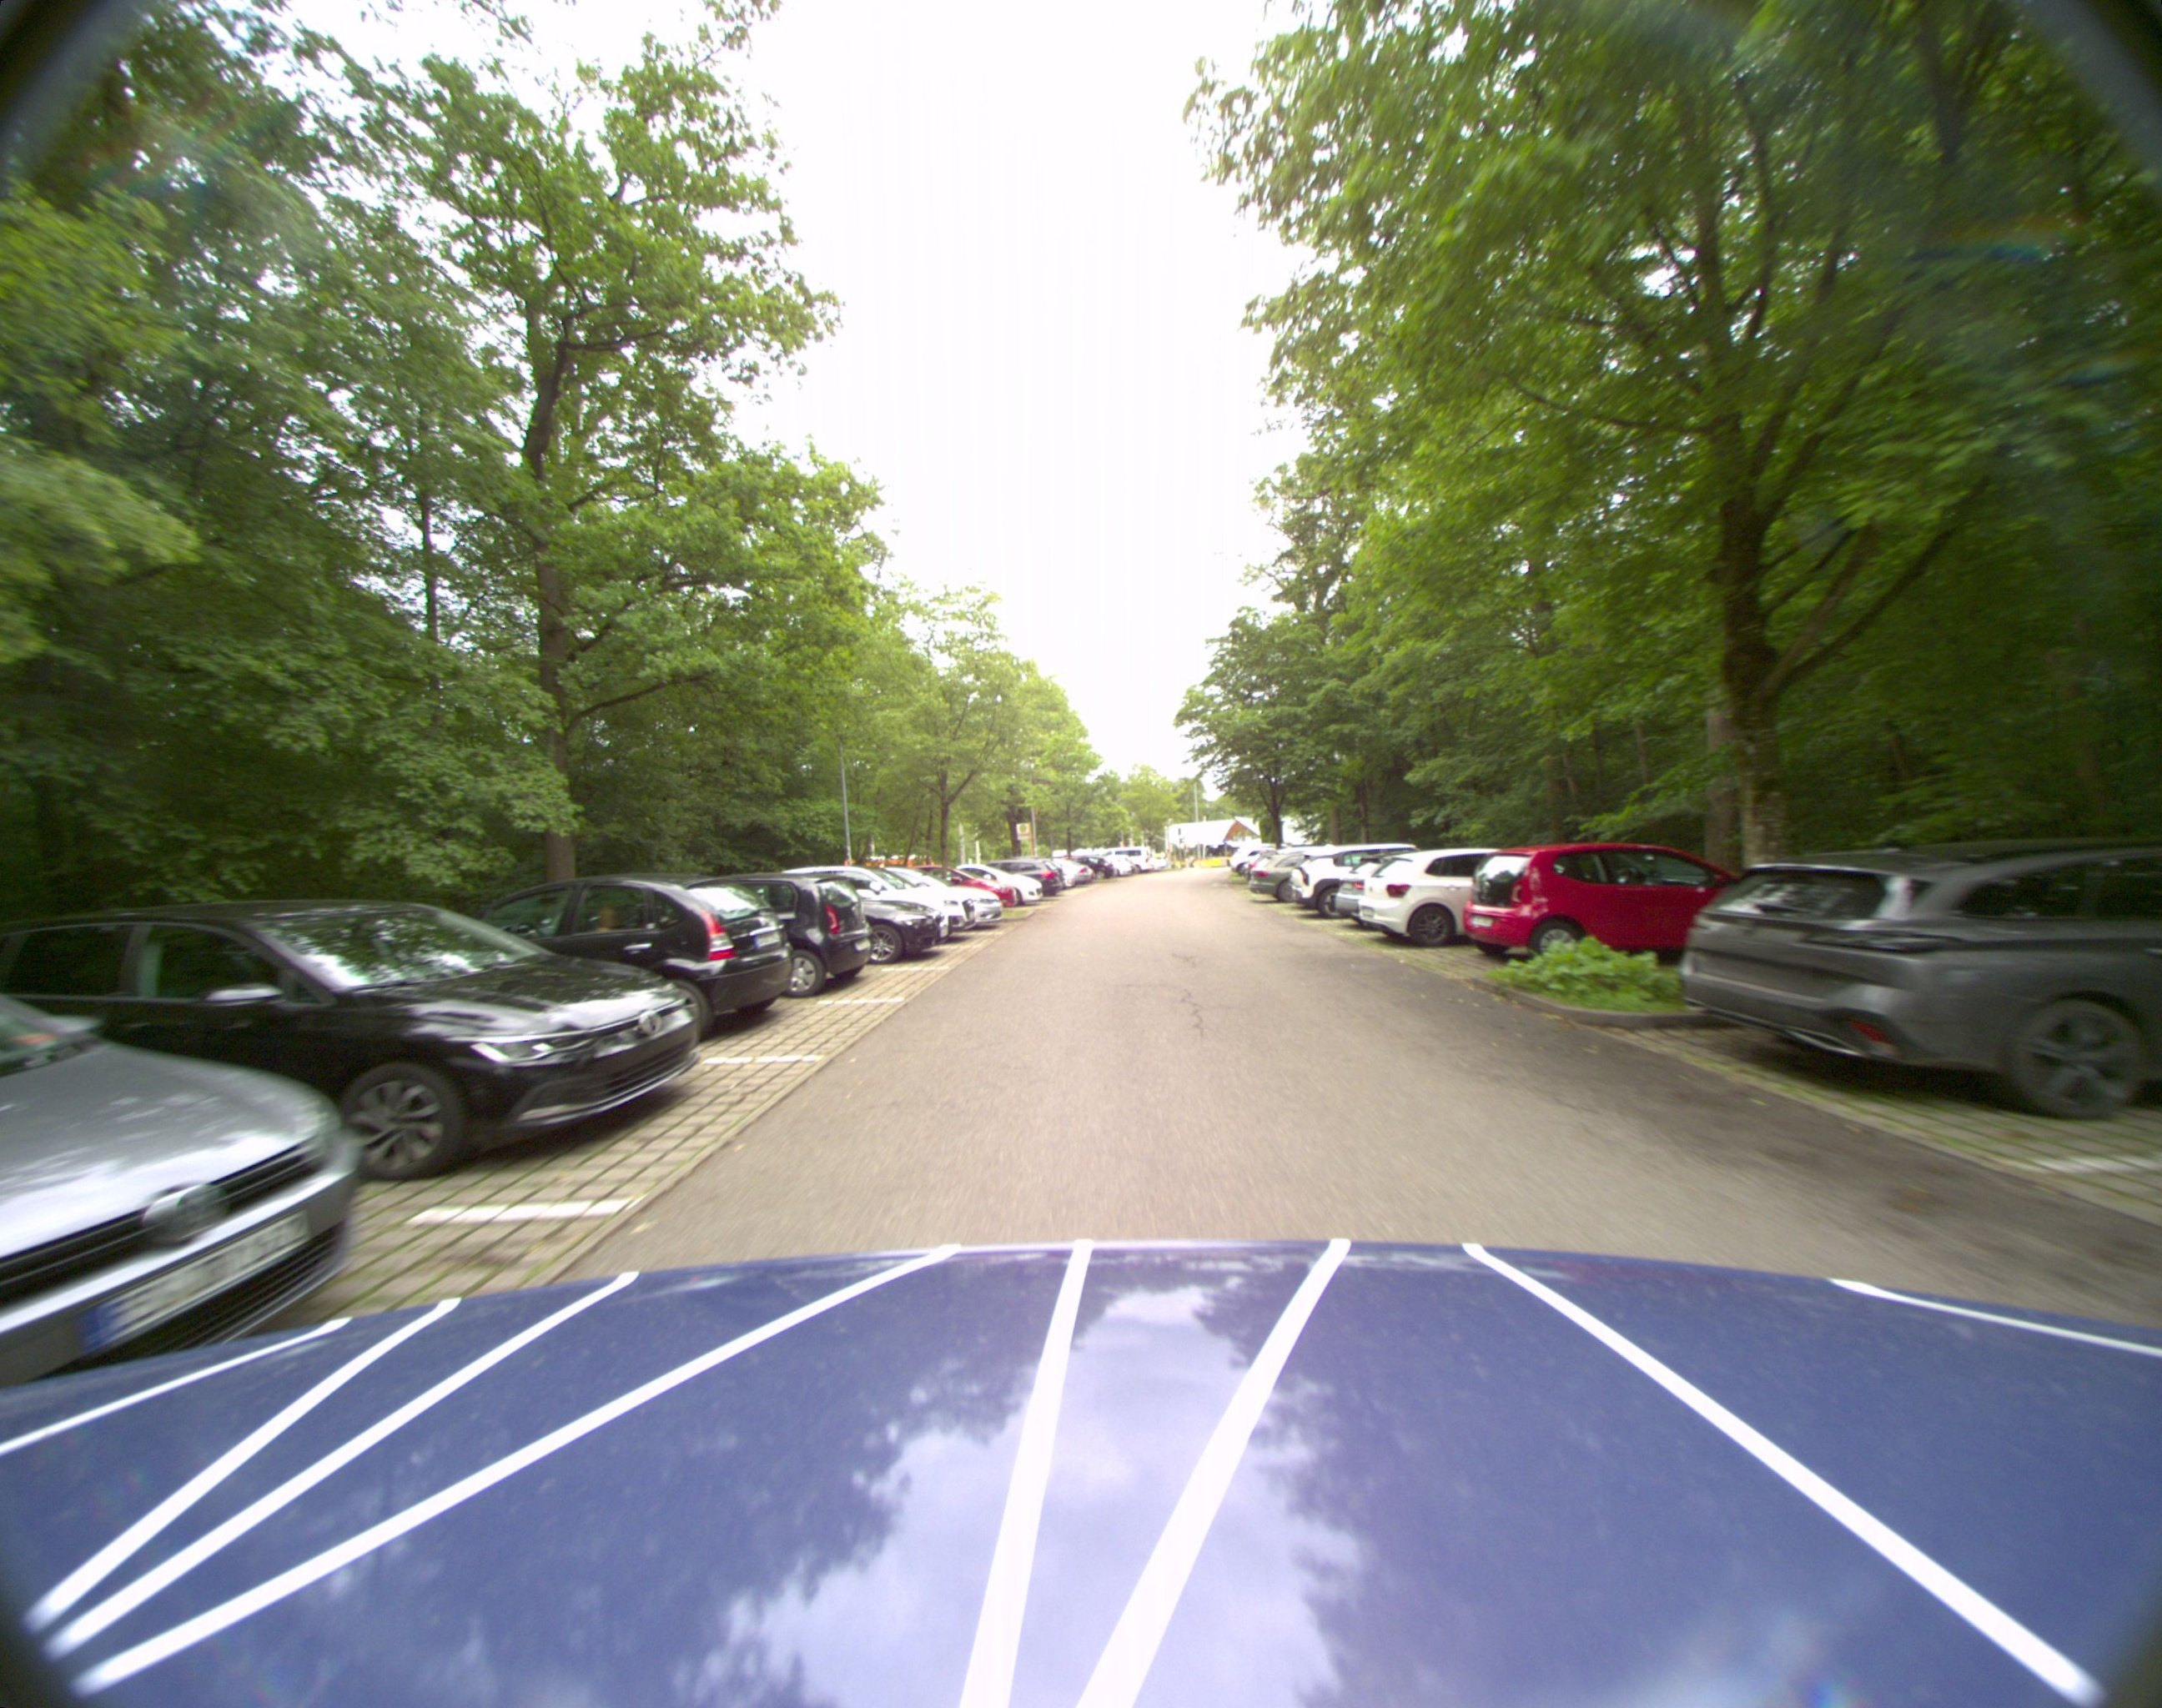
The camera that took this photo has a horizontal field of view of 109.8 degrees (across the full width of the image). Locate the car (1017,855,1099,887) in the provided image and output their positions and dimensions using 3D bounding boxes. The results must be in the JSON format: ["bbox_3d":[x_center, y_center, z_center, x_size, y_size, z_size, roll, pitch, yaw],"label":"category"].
[{"bbox_3d":[-1.169,0.878,39.891,3.994,1.441,1.942,-2,0,9],"label":"car"}]

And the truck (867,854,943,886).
[{"bbox_3d":[-20.968,1.925,90.579,8.234,3.493,2.871,-3,-1,11],"label":"truck"}]

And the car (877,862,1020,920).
[{"bbox_3d":[-3.739,1.045,21.975,3.805,1.432,1.870,-3,-1,-3],"label":"car"}]

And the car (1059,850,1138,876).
[{"bbox_3d":[1.172,0.602,49.954,4.778,1.467,1.855,-2,-1,16],"label":"car"}]

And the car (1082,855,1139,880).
[{"bbox_3d":[2.132,0.979,54.506,3.728,1.545,1.849,-4,-3,15],"label":"car"}]

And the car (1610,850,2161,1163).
[{"bbox_3d":[6.239,0.755,4.726,4.415,1.416,2.036,-2,0,3],"label":"car"}]

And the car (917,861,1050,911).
[{"bbox_3d":[-3.114,1.034,24.828,3.940,1.402,1.879,-3,-1,6],"label":"car"}]

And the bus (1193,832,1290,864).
[{"bbox_3d":[18.263,-0.658,86.266,10.523,3.139,2.810,-2,-2,-15],"label":"bus"}]

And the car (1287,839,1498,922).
[{"bbox_3d":[6.626,0.568,16.655,3.966,1.618,2.000,-2,0,12],"label":"car"}]

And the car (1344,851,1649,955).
[{"bbox_3d":[6.296,0.716,11.899,3.735,1.411,1.872,-2,0,4],"label":"car"}]

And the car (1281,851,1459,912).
[{"bbox_3d":[7.104,0.656,19.003,3.798,1.348,1.730,-2,0,5],"label":"car"}]

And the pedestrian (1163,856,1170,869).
[{"bbox_3d":[11.539,1.115,102.388,0.736,1.746,0.669,-4,-2,5],"label":"pedestrian"}]

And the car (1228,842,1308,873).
[{"bbox_3d":[10.726,0.204,43.702,4.361,1.588,2.033,-2,0,13],"label":"car"}]

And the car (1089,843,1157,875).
[{"bbox_3d":[3.175,0.374,57.036,4.655,2.008,2.086,-5,-2,16],"label":"car"}]

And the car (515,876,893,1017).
[{"bbox_3d":[-4.560,1.099,9.605,3.836,1.449,1.809,-2,1,3],"label":"car"}]

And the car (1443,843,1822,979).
[{"bbox_3d":[6.689,0.657,9.535,3.473,1.472,1.684,-2,0,3],"label":"car"}]

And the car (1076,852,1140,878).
[{"bbox_3d":[1.876,0.757,52.211,3.993,1.475,1.879,-4,1,15],"label":"car"}]

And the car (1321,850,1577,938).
[{"bbox_3d":[6.694,0.689,14.140,3.812,1.412,1.897,-2,0,0],"label":"car"}]

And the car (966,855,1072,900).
[{"bbox_3d":[-2.418,0.915,30.294,3.775,1.580,1.951,-3,-1,8],"label":"car"}]

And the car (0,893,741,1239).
[{"bbox_3d":[-4.550,1.108,4.639,3.996,1.466,1.953,-3,0,2],"label":"car"}]

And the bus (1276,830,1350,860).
[{"bbox_3d":[27.054,-1.057,88.573,7.760,3.139,2.810,-2,-2,-15],"label":"bus"}]

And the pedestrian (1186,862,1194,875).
[{"bbox_3d":[15.401,2.069,107.458,0.732,1.746,0.738,-5,-3,31],"label":"pedestrian"}]

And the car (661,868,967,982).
[{"bbox_3d":[-4.117,1.082,12.240,4.197,1.503,1.893,-3,0,1],"label":"car"}]

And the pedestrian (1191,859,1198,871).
[{"bbox_3d":[15.980,1.553,107.049,0.669,1.746,0.561,-2,-3,-32],"label":"pedestrian"}]

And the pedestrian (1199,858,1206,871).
[{"bbox_3d":[17.109,1.520,106.816,0.600,1.746,0.668,-3,-2,-18],"label":"pedestrian"}]

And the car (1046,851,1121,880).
[{"bbox_3d":[0.168,0.667,44.780,3.993,1.474,1.924,-2,0,13],"label":"car"}]

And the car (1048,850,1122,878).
[{"bbox_3d":[0.273,0.619,47.391,4.235,1.472,1.921,-3,0,13],"label":"car"}]

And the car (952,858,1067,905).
[{"bbox_3d":[-2.493,0.954,27.185,3.776,1.472,1.774,-3,0,4],"label":"car"}]

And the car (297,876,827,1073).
[{"bbox_3d":[-4.723,1.057,7.370,3.836,1.522,1.851,-2,0,2],"label":"car"}]

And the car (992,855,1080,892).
[{"bbox_3d":[-2.031,0.877,34.905,3.708,1.502,1.752,-2,1,9],"label":"car"}]

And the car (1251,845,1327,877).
[{"bbox_3d":[10.446,0.357,38.393,3.612,1.465,1.676,-2,0,13],"label":"car"}]

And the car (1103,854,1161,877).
[{"bbox_3d":[4.008,0.868,59.636,4.001,1.546,1.950,-4,-1,23],"label":"car"}]

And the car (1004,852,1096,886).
[{"bbox_3d":[-1.494,0.720,37.227,4.133,1.453,1.866,-2,1,11],"label":"car"}]

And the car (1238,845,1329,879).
[{"bbox_3d":[9.563,0.375,36.096,3.994,1.482,1.709,-2,0,9],"label":"car"}]

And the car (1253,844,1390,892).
[{"bbox_3d":[8.308,0.474,26.551,4.242,1.524,1.763,-2,0,5],"label":"car"}]

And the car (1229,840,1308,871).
[{"bbox_3d":[11.387,0.105,46.139,4.431,1.684,2.173,-3,-1,15],"label":"car"}]

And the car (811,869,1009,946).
[{"bbox_3d":[-3.772,1.180,17.302,3.986,1.475,1.884,-3,-1,1],"label":"car"}]

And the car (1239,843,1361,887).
[{"bbox_3d":[8.325,0.415,29.261,4.241,1.521,2.008,-2,0,9],"label":"car"}]

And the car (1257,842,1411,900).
[{"bbox_3d":[7.891,0.515,24.082,4.242,1.637,1.970,-2,0,4],"label":"car"}]

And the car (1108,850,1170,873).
[{"bbox_3d":[4.749,0.629,62.018,4.525,1.683,2.168,-3,0,22],"label":"car"}]

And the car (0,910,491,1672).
[{"bbox_3d":[-4.394,1.085,1.992,3.998,1.542,1.975,-3,0,-5],"label":"car"}]

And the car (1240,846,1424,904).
[{"bbox_3d":[7.073,0.583,21.857,4.649,1.469,2.096,-2,0,6],"label":"car"}]

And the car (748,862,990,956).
[{"bbox_3d":[-3.997,1.021,14.772,4.017,1.550,1.978,-3,-1,6],"label":"car"}]

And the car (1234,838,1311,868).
[{"bbox_3d":[13.409,-0.034,53.148,5.092,1.904,1.981,-2,0,18],"label":"car"}]
